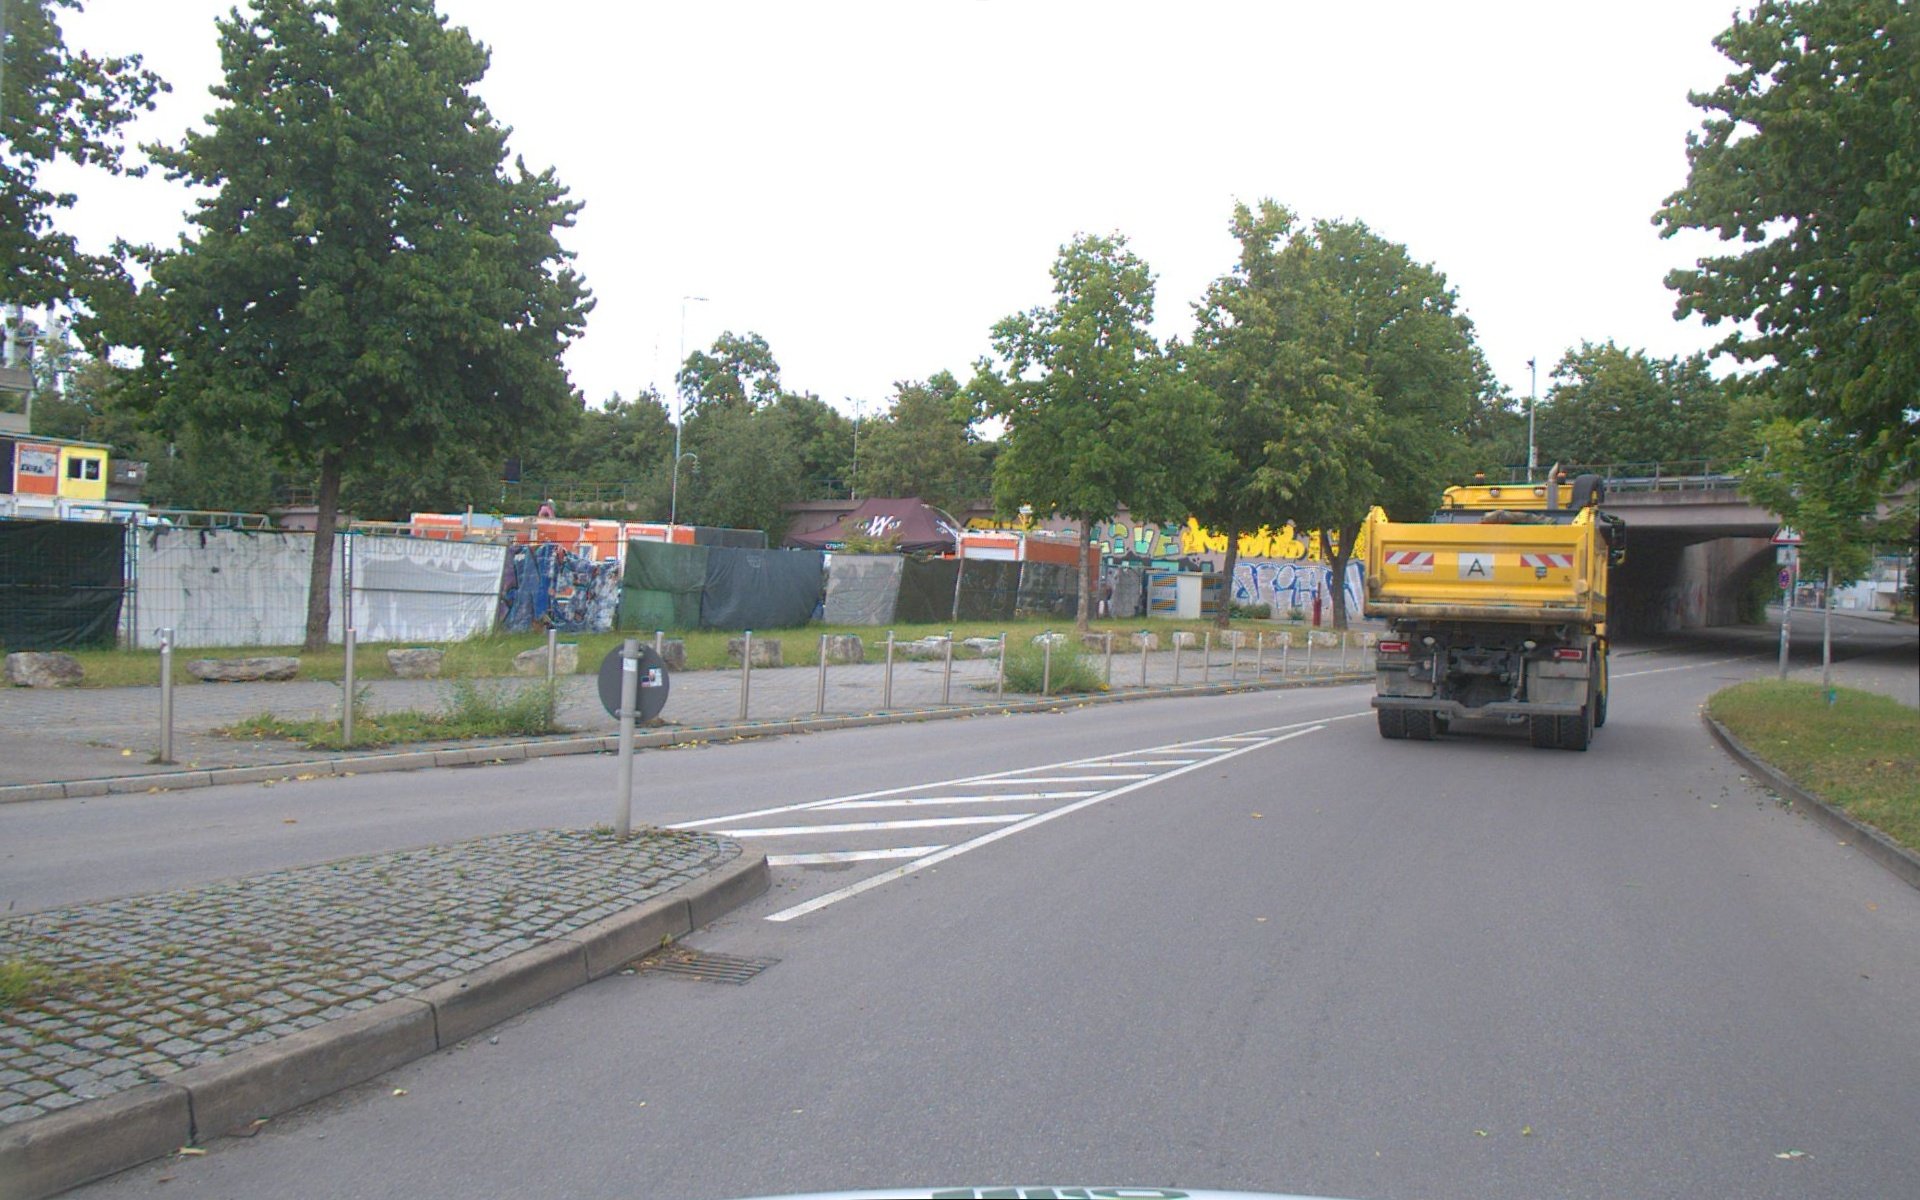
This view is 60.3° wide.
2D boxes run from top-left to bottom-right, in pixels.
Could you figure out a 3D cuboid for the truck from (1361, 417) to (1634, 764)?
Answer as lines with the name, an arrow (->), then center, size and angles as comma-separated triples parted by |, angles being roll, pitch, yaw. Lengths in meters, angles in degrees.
truck -> 7.455, -0.154, 22.158 | 2.702, 3.762, 7.878 | 3, 1, 23
